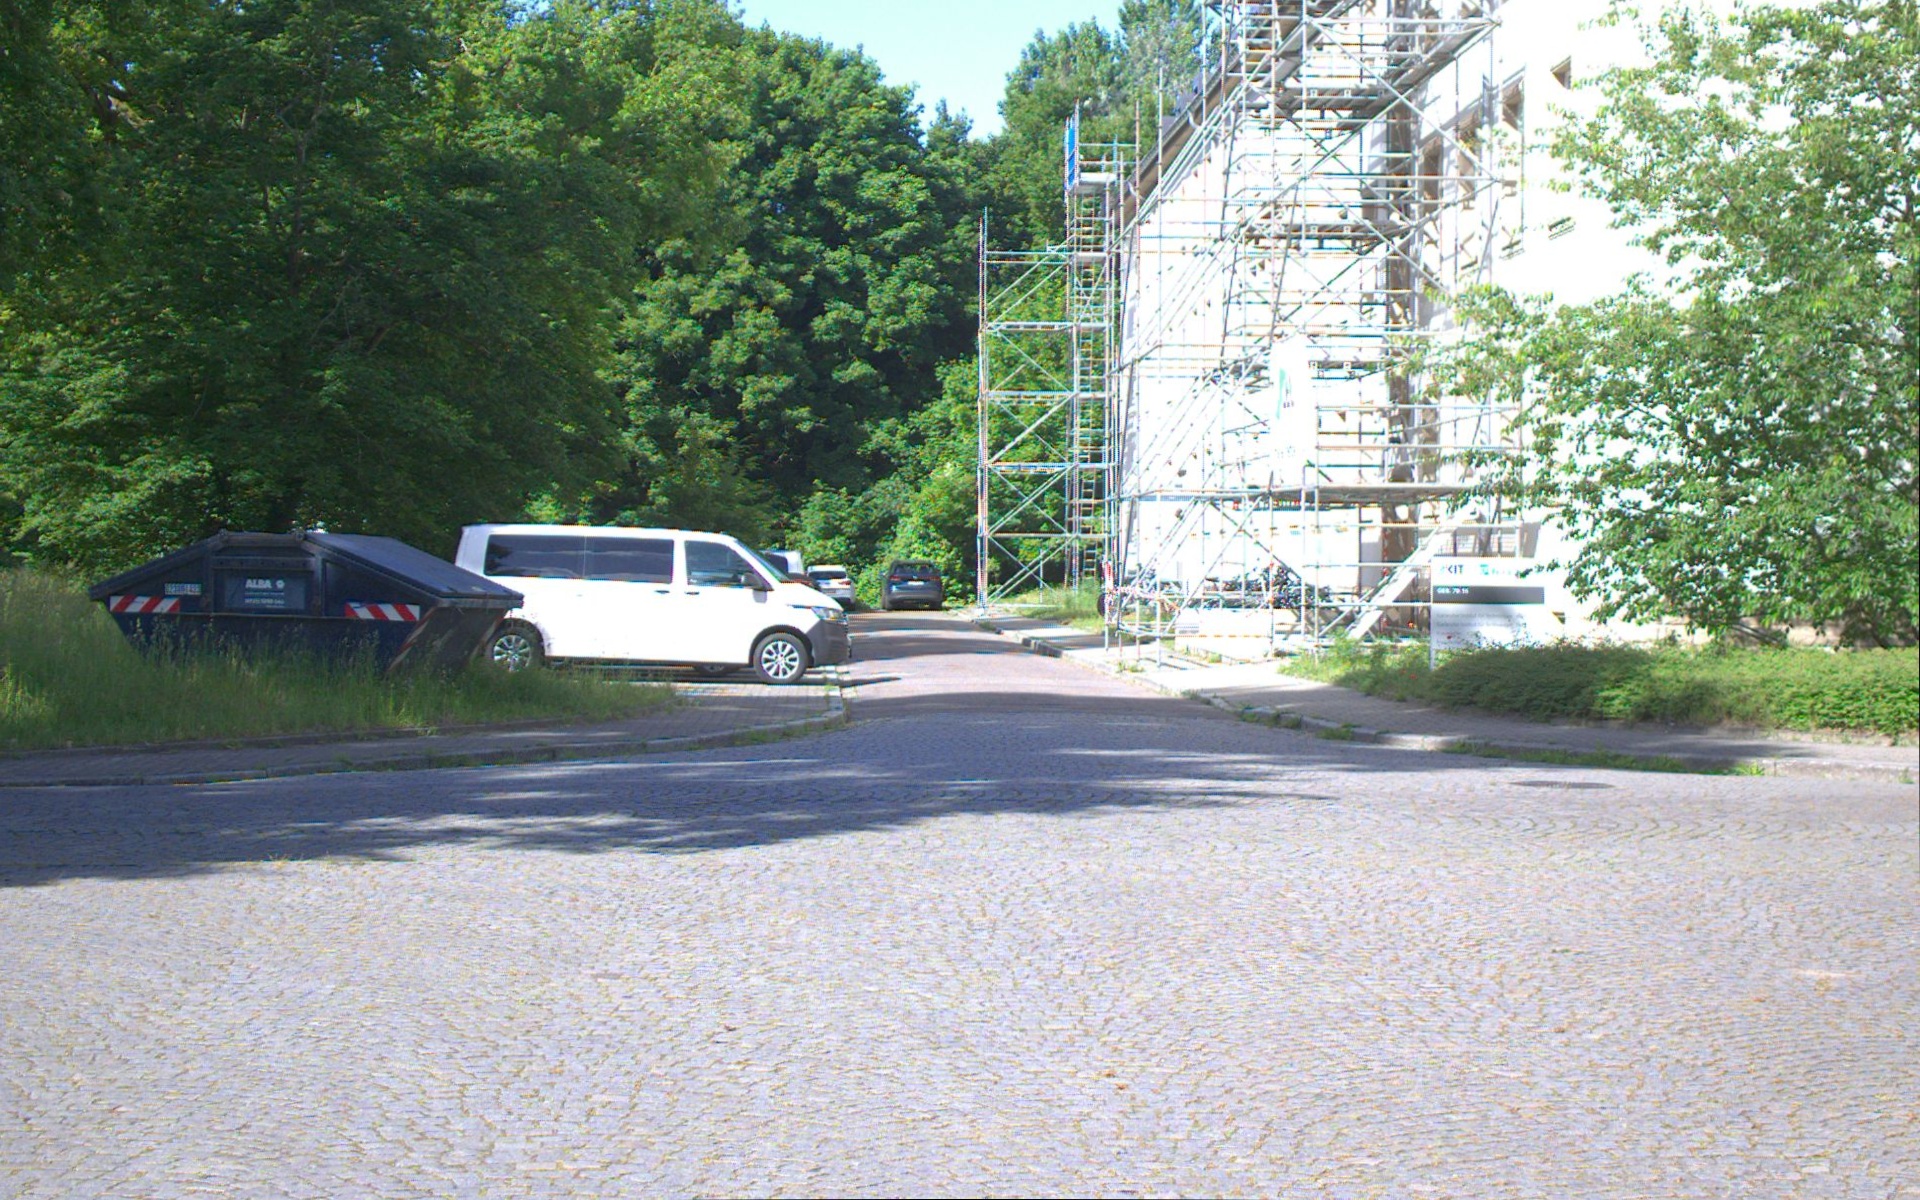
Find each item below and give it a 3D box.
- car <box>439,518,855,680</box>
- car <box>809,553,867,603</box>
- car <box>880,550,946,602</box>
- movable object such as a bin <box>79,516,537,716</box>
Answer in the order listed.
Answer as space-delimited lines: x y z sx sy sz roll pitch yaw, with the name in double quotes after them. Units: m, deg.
-4.005 -0.017 44.516 5.234 2.009 1.950 0 1 -3 "car"
-3.934 -0.724 110.573 1.812 1.574 4.135 0 1 -3 "car"
-1.543 -0.782 110.955 1.971 1.662 4.086 0 1 -3 "car"
-5.911 0.130 31.346 3.568 1.739 2.023 0 1 16 "movable object such as a bin"
